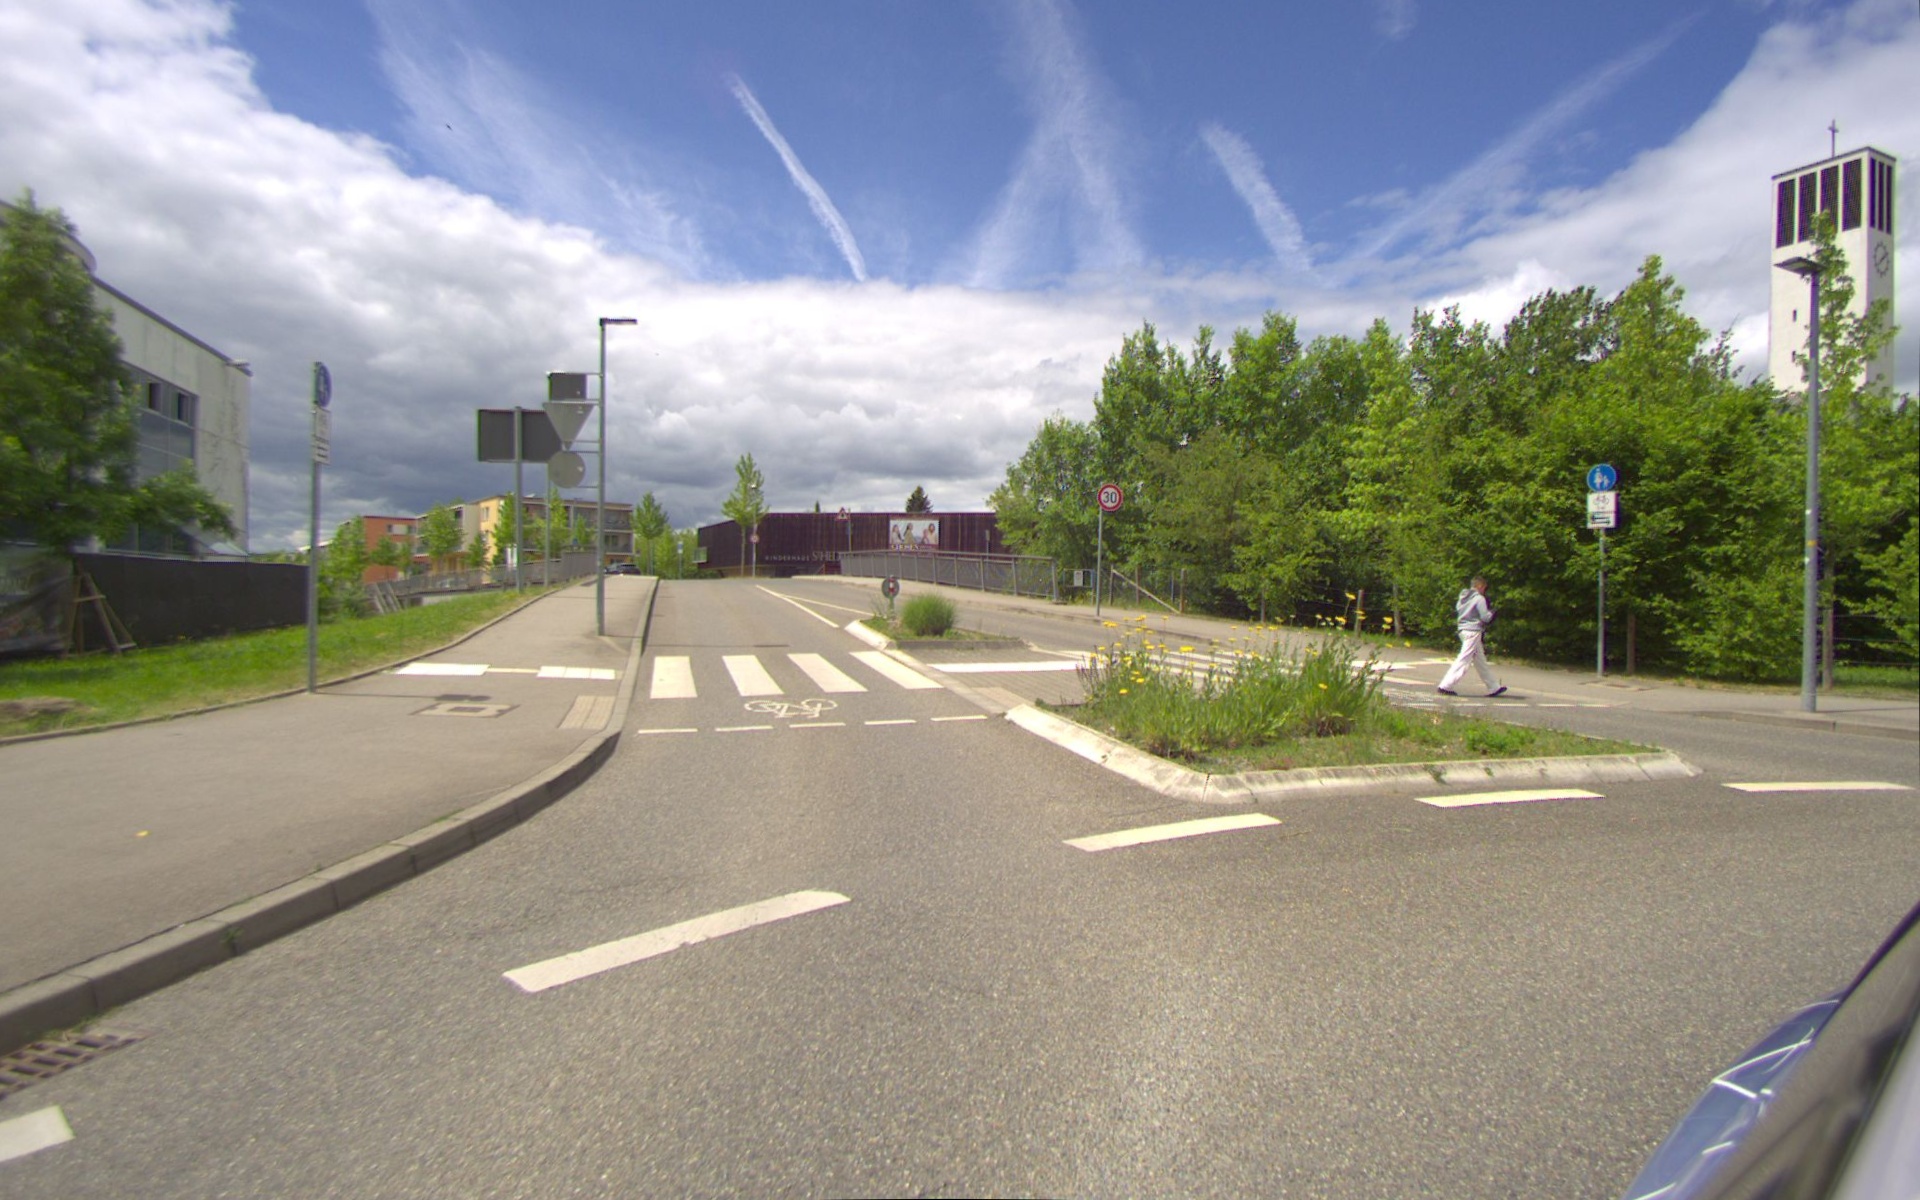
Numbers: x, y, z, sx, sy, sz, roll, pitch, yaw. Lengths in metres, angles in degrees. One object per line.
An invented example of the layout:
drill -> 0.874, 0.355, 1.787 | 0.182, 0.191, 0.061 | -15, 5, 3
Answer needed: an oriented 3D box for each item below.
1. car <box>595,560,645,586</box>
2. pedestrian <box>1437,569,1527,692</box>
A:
car -> -26.093, -2.046, 77.662 | 3.982, 1.594, 1.854 | -6, -3, 41
pedestrian -> 6.733, 0.389, 13.069 | 0.943, 1.553, 0.459 | 1, 0, -11
